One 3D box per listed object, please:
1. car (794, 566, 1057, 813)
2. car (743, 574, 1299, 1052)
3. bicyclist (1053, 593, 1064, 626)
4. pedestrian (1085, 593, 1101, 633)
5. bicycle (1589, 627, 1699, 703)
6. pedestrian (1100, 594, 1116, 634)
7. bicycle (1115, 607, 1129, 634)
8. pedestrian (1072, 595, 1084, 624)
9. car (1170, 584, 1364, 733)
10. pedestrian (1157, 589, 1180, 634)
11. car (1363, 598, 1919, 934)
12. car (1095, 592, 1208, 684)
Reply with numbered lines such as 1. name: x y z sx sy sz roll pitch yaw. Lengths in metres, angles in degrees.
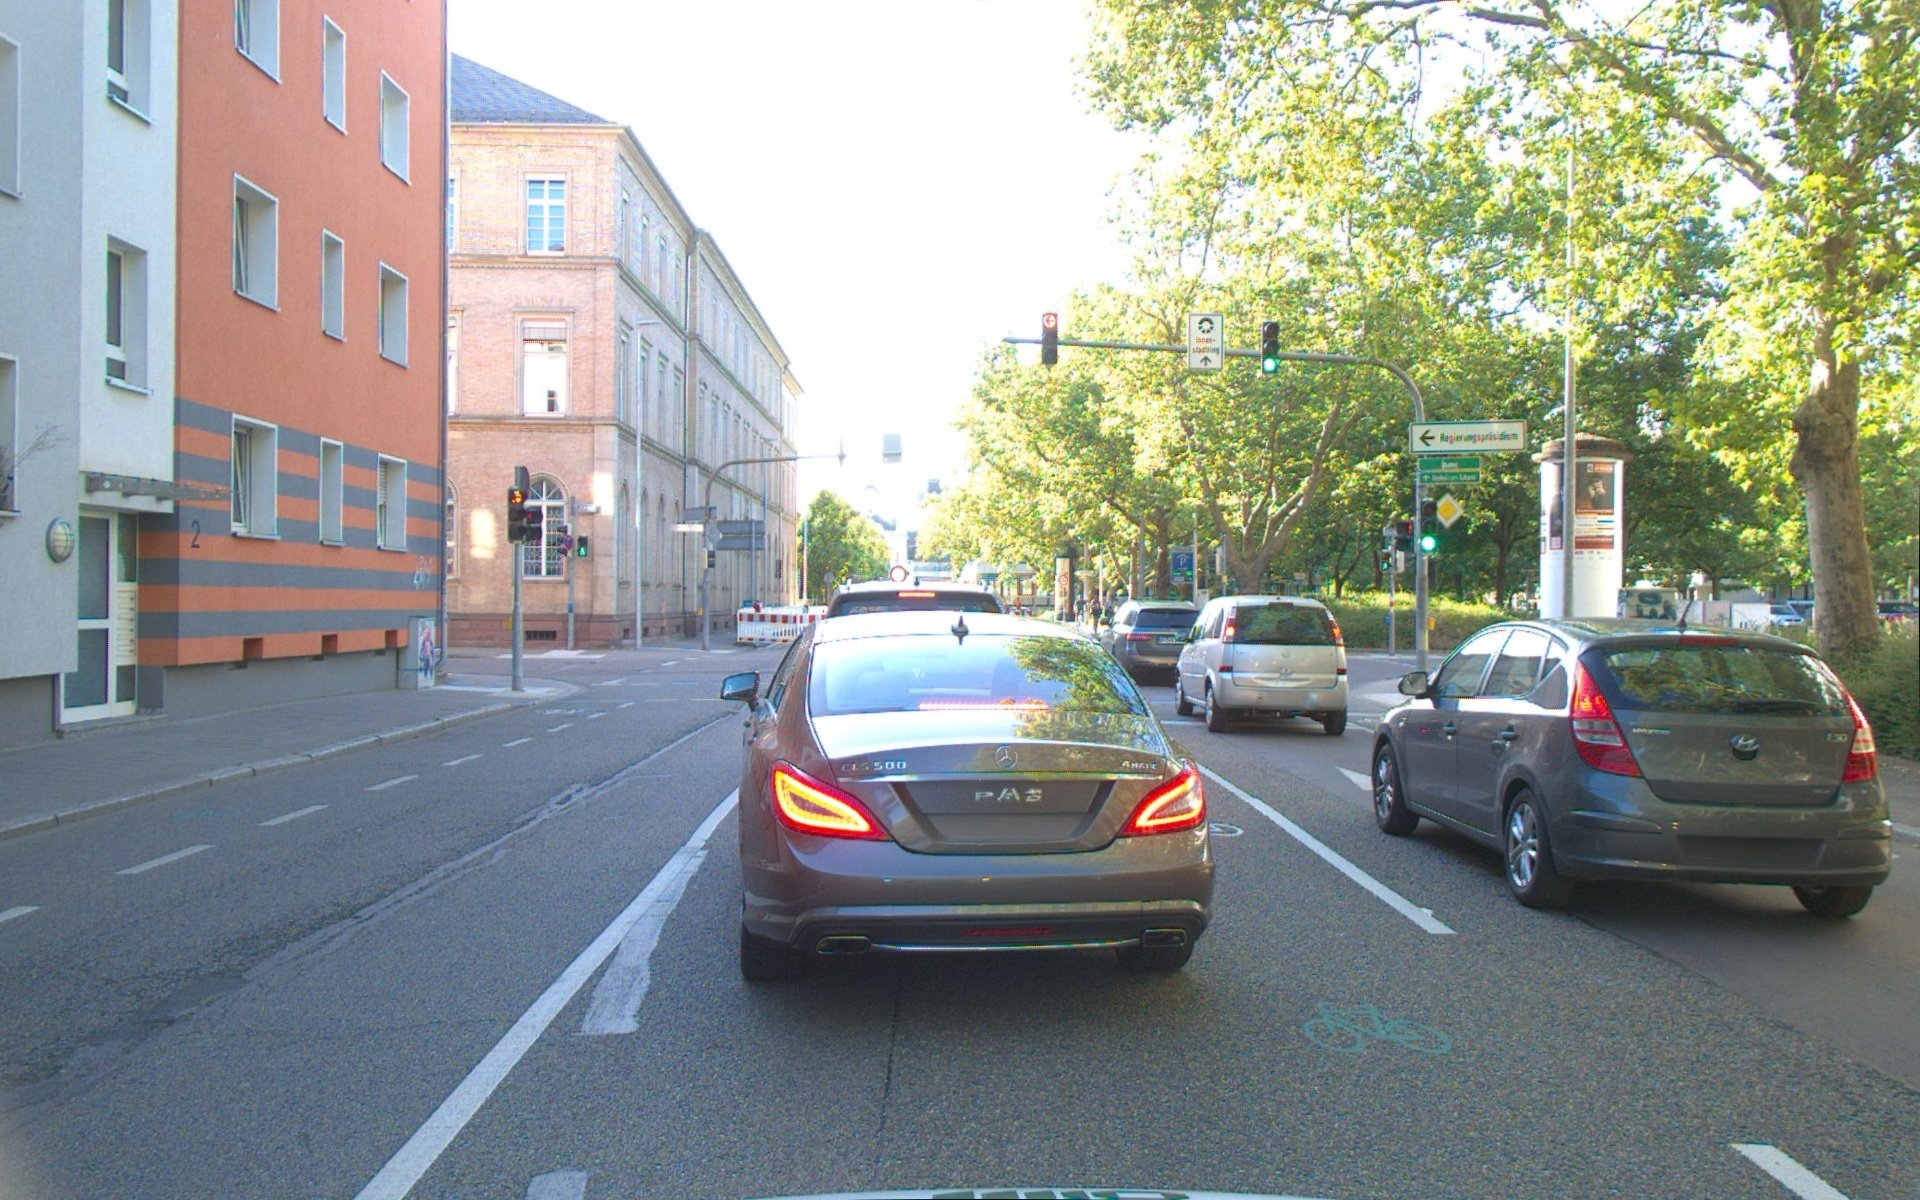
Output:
1. car: -0.271 0.620 13.593 1.823 1.712 3.999 1 0 -1
2. car: -0.034 0.690 7.465 1.826 1.545 3.993 1 0 -8
3. bicyclist: 6.256 0.606 105.115 0.583 2.075 0.565 1 -1 -5
4. pedestrian: 6.060 0.593 75.517 0.623 1.828 0.698 1 -1 -5
5. bicycle: 9.869 0.922 23.839 1.868 1.046 0.633 1 -1 -39
6. pedestrian: 6.754 0.624 75.485 0.623 1.791 0.698 1 -1 -5
7. bicycle: 7.367 0.921 75.274 0.472 1.223 1.606 1 0 -1
8. pedestrian: 6.158 0.490 86.207 0.545 1.535 0.345 1 -1 -5
9. car: 3.777 0.681 20.895 1.696 1.691 3.680 1 0 -1
10. pedestrian: 7.257 0.400 57.544 0.623 1.572 0.909 1 0 -5
11. car: 3.722 0.773 9.710 1.670 1.545 3.999 1 0 -1
12. car: 3.463 0.664 30.415 1.568 1.576 3.680 1 0 -1
